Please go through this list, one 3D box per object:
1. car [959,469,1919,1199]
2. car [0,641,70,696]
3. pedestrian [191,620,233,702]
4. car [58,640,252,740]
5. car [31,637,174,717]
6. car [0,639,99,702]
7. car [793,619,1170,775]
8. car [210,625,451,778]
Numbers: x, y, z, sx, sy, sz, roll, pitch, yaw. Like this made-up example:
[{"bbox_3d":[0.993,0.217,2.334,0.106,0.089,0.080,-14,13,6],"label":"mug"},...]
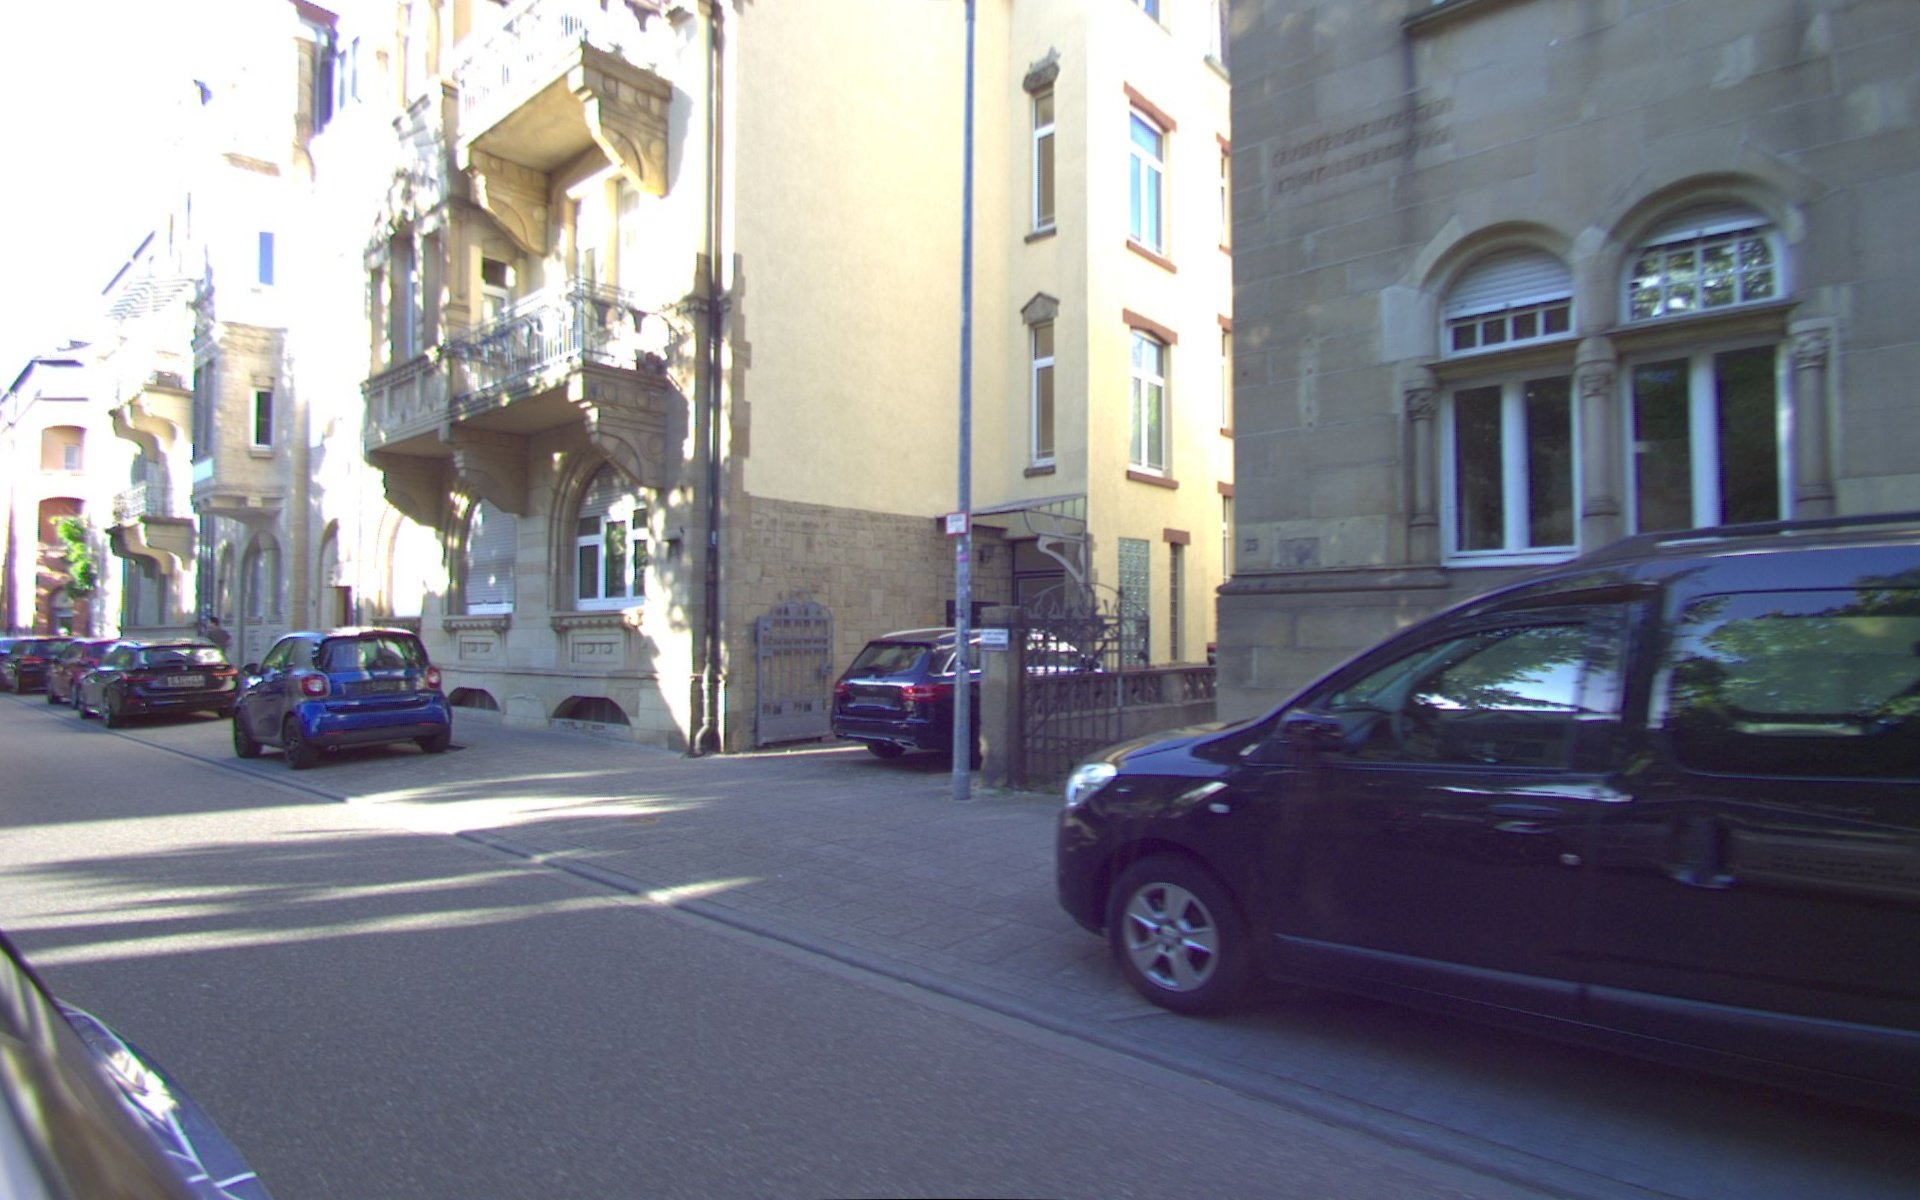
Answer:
[{"bbox_3d":[2.281,0.646,3.709,4.540,1.866,1.751,-2,-2,41],"label":"car"},{"bbox_3d":[-28.455,2.037,30.368,4.506,1.468,1.870,-3,1,39],"label":"car"},{"bbox_3d":[-17.266,1.394,23.364,0.497,1.861,0.685,-2,-2,43],"label":"pedestrian"},{"bbox_3d":[-14.473,1.500,18.107,4.539,1.450,1.881,-2,1,41],"label":"car"},{"bbox_3d":[-18.721,1.622,22.056,3.769,1.477,1.673,-2,1,39],"label":"car"},{"bbox_3d":[-24.120,1.788,26.648,3.997,1.477,1.724,-2,-1,42],"label":"car"},{"bbox_3d":[0.419,0.975,11.886,2.068,1.449,4.342,-2,-2,43],"label":"car"},{"bbox_3d":[-7.614,1.119,12.181,2.860,1.520,1.666,-2,0,41],"label":"car"}]
